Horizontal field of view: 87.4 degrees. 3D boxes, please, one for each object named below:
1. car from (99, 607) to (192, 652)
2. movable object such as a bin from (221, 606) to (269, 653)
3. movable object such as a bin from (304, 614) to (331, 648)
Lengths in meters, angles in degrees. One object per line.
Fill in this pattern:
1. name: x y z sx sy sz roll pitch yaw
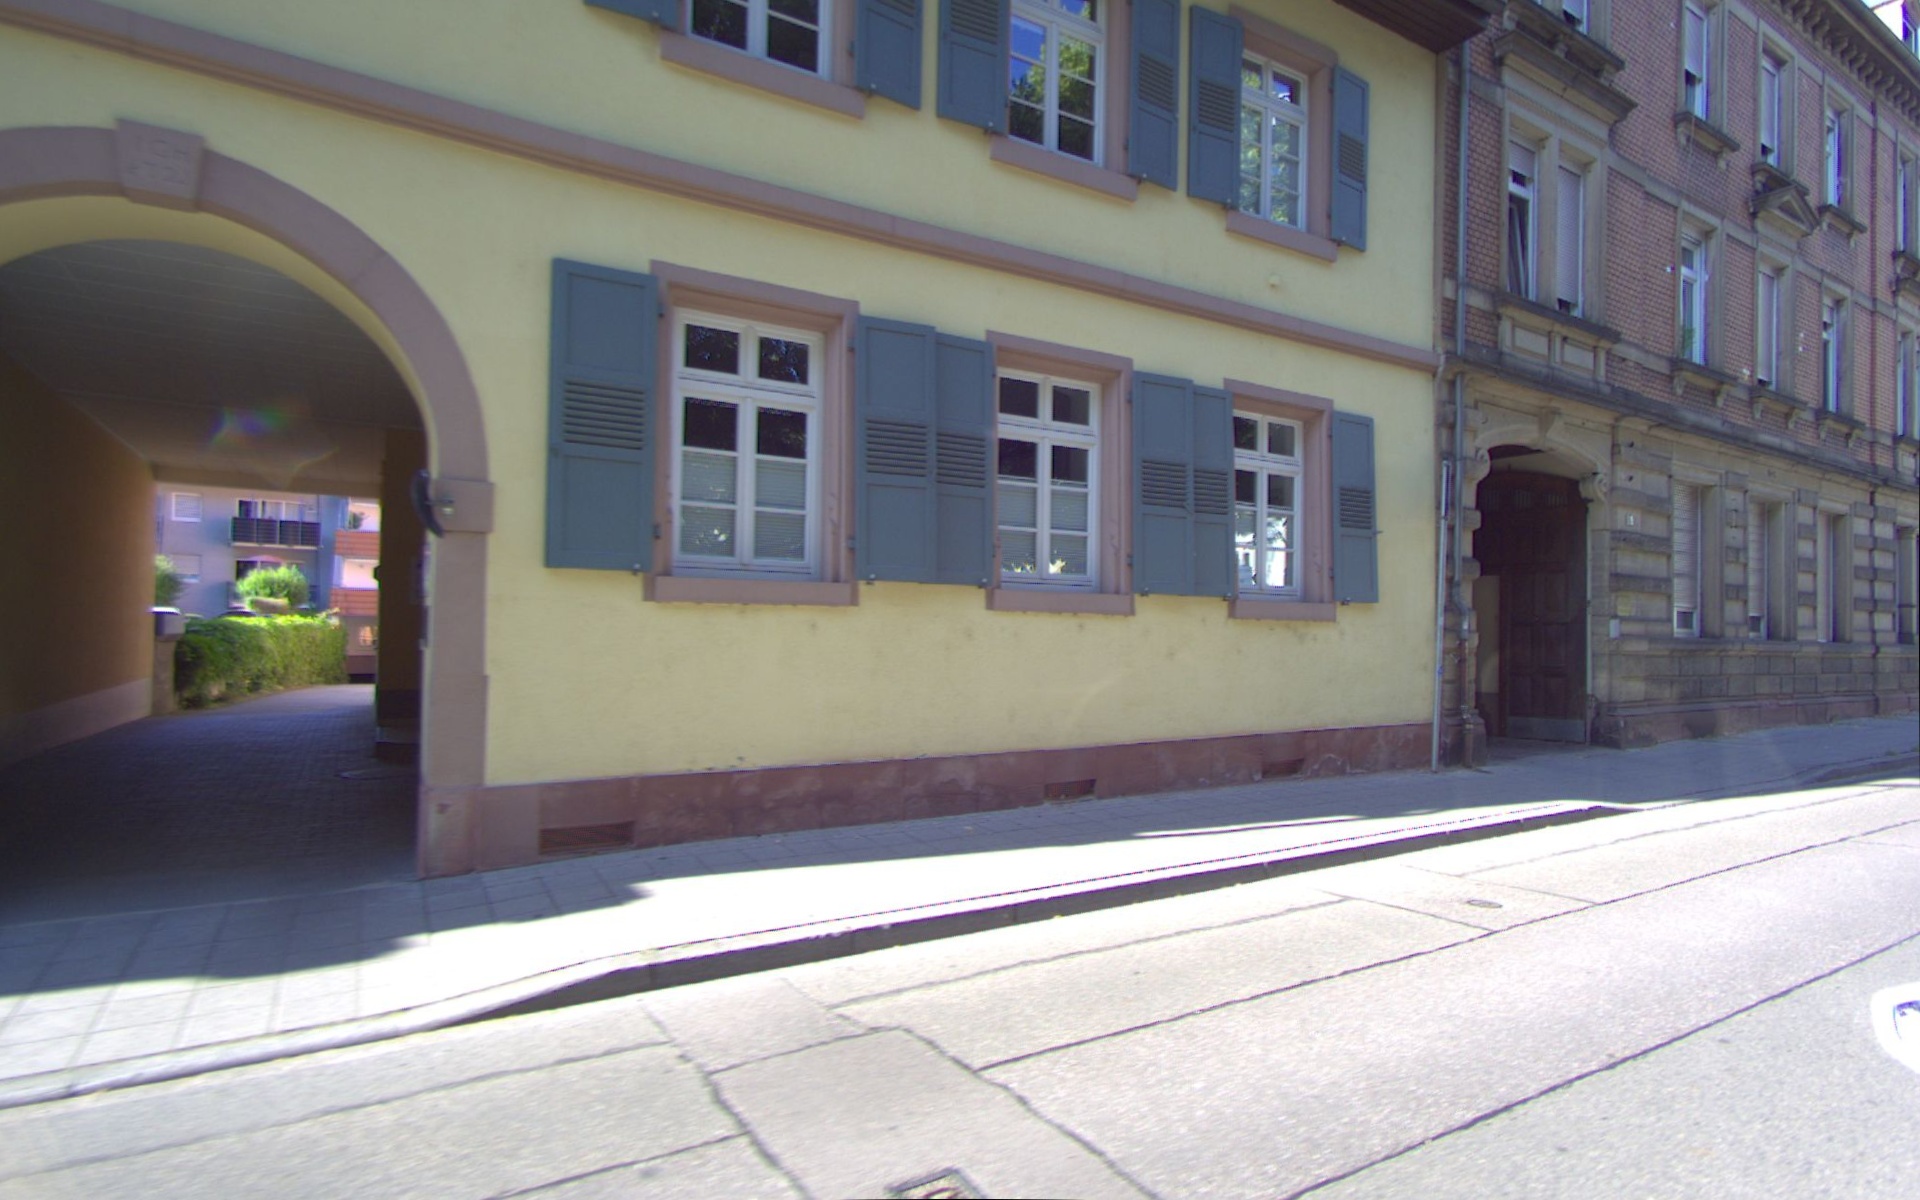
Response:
1. car: -26.350 0.958 32.625 1.801 1.392 3.966 1 -2 -31
2. movable object such as a bin: -22.136 0.906 31.117 1.082 1.412 1.038 1 -2 -31
3. movable object such as a bin: -29.393 1.426 45.971 0.999 1.553 0.827 1 -2 -34
